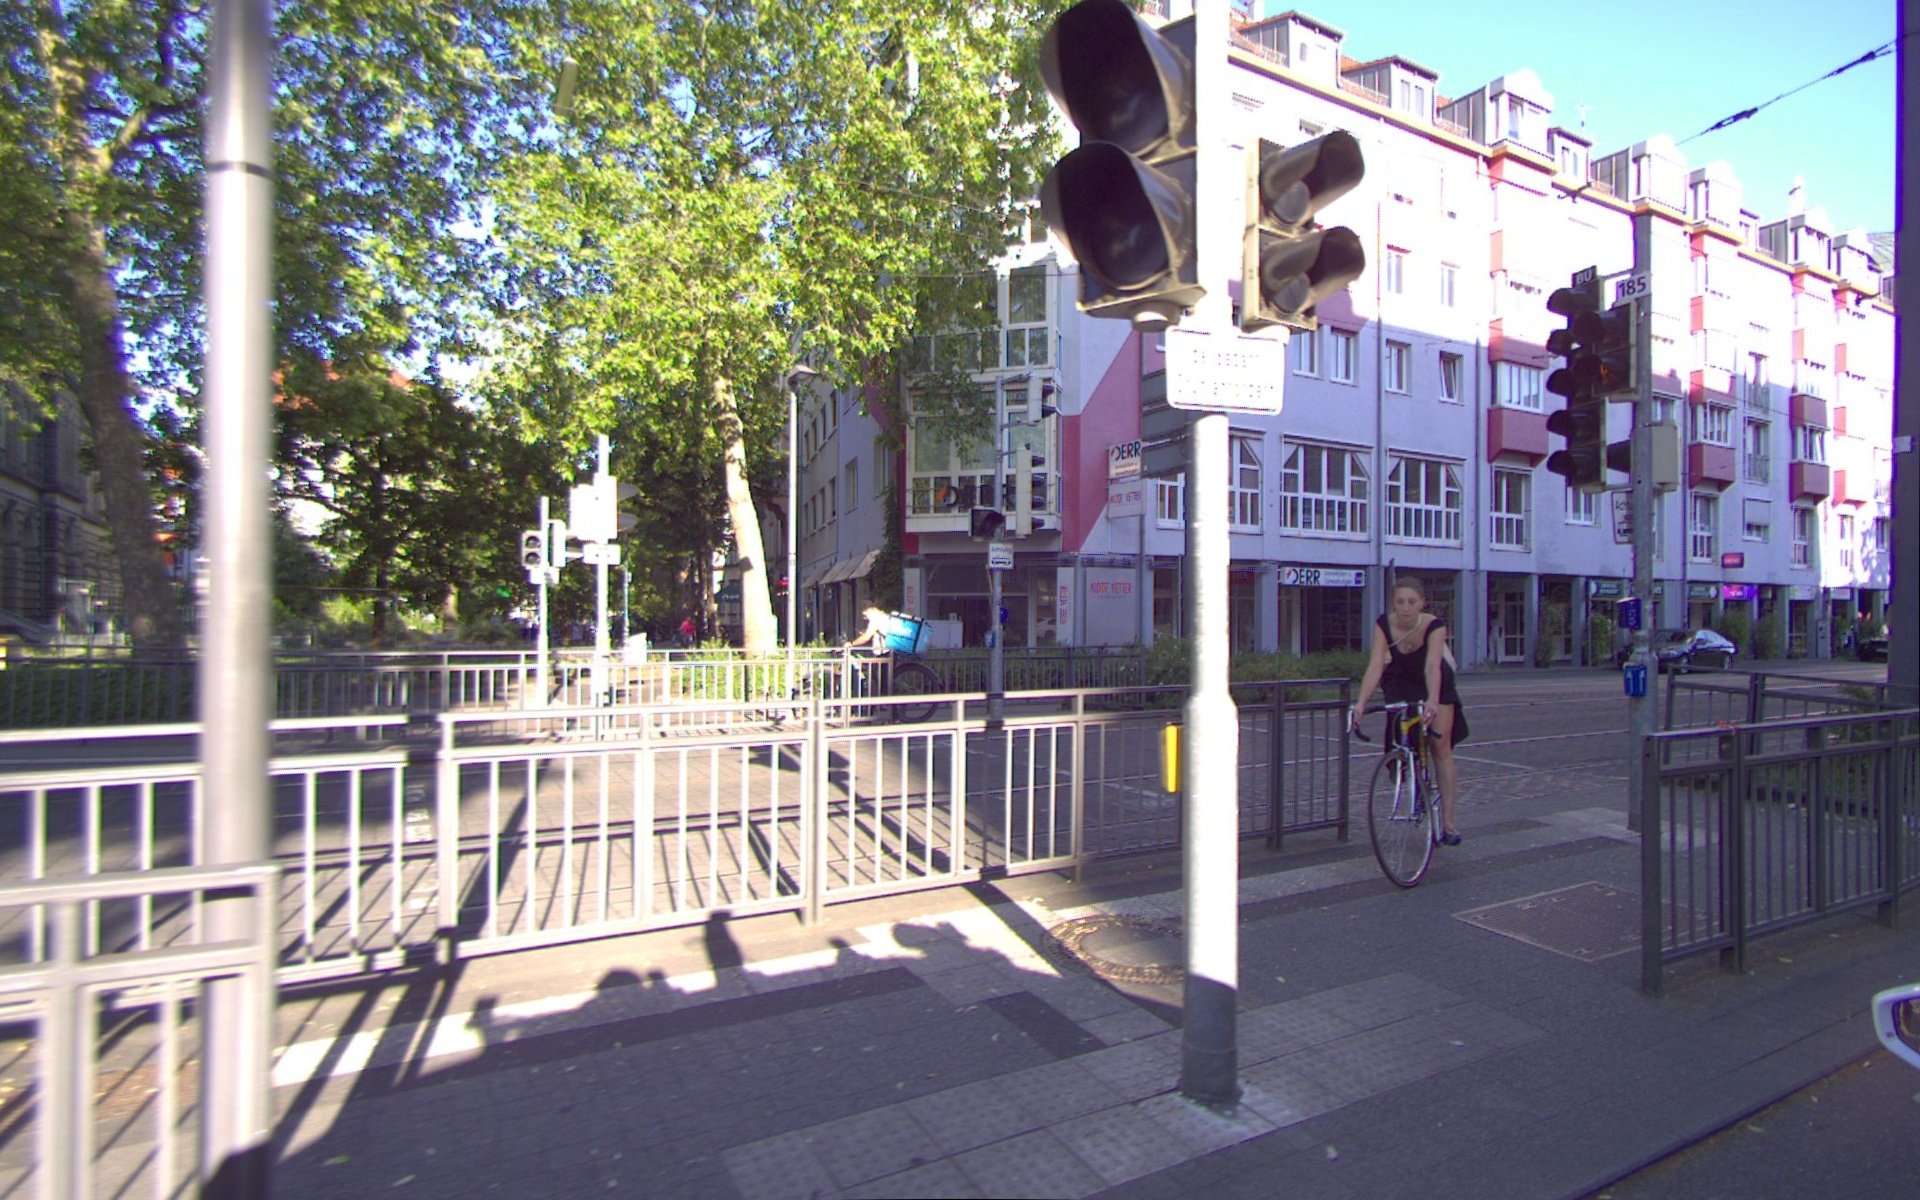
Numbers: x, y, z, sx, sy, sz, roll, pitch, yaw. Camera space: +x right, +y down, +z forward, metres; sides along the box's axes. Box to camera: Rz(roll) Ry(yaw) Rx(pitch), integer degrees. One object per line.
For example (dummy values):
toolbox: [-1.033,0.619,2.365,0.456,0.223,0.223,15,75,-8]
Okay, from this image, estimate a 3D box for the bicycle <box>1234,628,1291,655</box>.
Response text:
bicycle: [8.138,1.102,27.003,1.792,0.667,0.452,1,2,-35]

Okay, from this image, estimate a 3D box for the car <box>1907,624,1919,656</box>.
car: [46.288,1.927,46.938,3.537,1.470,1.862,2,0,-27]

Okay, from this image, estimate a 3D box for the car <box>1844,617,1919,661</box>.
car: [40.181,1.681,43.027,4.764,1.735,2.080,2,0,-31]

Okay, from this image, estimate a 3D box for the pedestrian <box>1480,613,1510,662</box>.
pedestrian: [19.338,1.353,36.310,0.609,1.735,0.739,1,0,-33]

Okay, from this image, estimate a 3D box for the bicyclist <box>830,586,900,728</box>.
bicyclist: [-1.187,0.697,12.650,0.730,1.735,0.534,0,0,15]

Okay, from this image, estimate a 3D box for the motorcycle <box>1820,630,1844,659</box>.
motorcycle: [37.734,1.918,43.472,0.662,1.221,2.128,2,0,43]

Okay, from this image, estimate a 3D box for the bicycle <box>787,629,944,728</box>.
bicycle: [-1.197,0.965,12.696,1.861,1.092,0.584,2,2,17]

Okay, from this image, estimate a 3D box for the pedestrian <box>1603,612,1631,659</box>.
pedestrian: [24.668,1.324,37.703,0.737,1.735,0.611,1,0,-31]

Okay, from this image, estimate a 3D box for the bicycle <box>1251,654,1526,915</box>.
bicycle: [2.359,0.885,5.400,1.885,1.092,0.577,1,2,-42]

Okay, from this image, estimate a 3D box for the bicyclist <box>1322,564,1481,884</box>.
bicyclist: [2.403,0.623,5.459,0.740,1.599,0.527,1,0,-42]

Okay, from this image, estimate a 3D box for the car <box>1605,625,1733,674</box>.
car: [23.673,1.607,33.477,4.655,1.458,1.859,1,0,-33]
